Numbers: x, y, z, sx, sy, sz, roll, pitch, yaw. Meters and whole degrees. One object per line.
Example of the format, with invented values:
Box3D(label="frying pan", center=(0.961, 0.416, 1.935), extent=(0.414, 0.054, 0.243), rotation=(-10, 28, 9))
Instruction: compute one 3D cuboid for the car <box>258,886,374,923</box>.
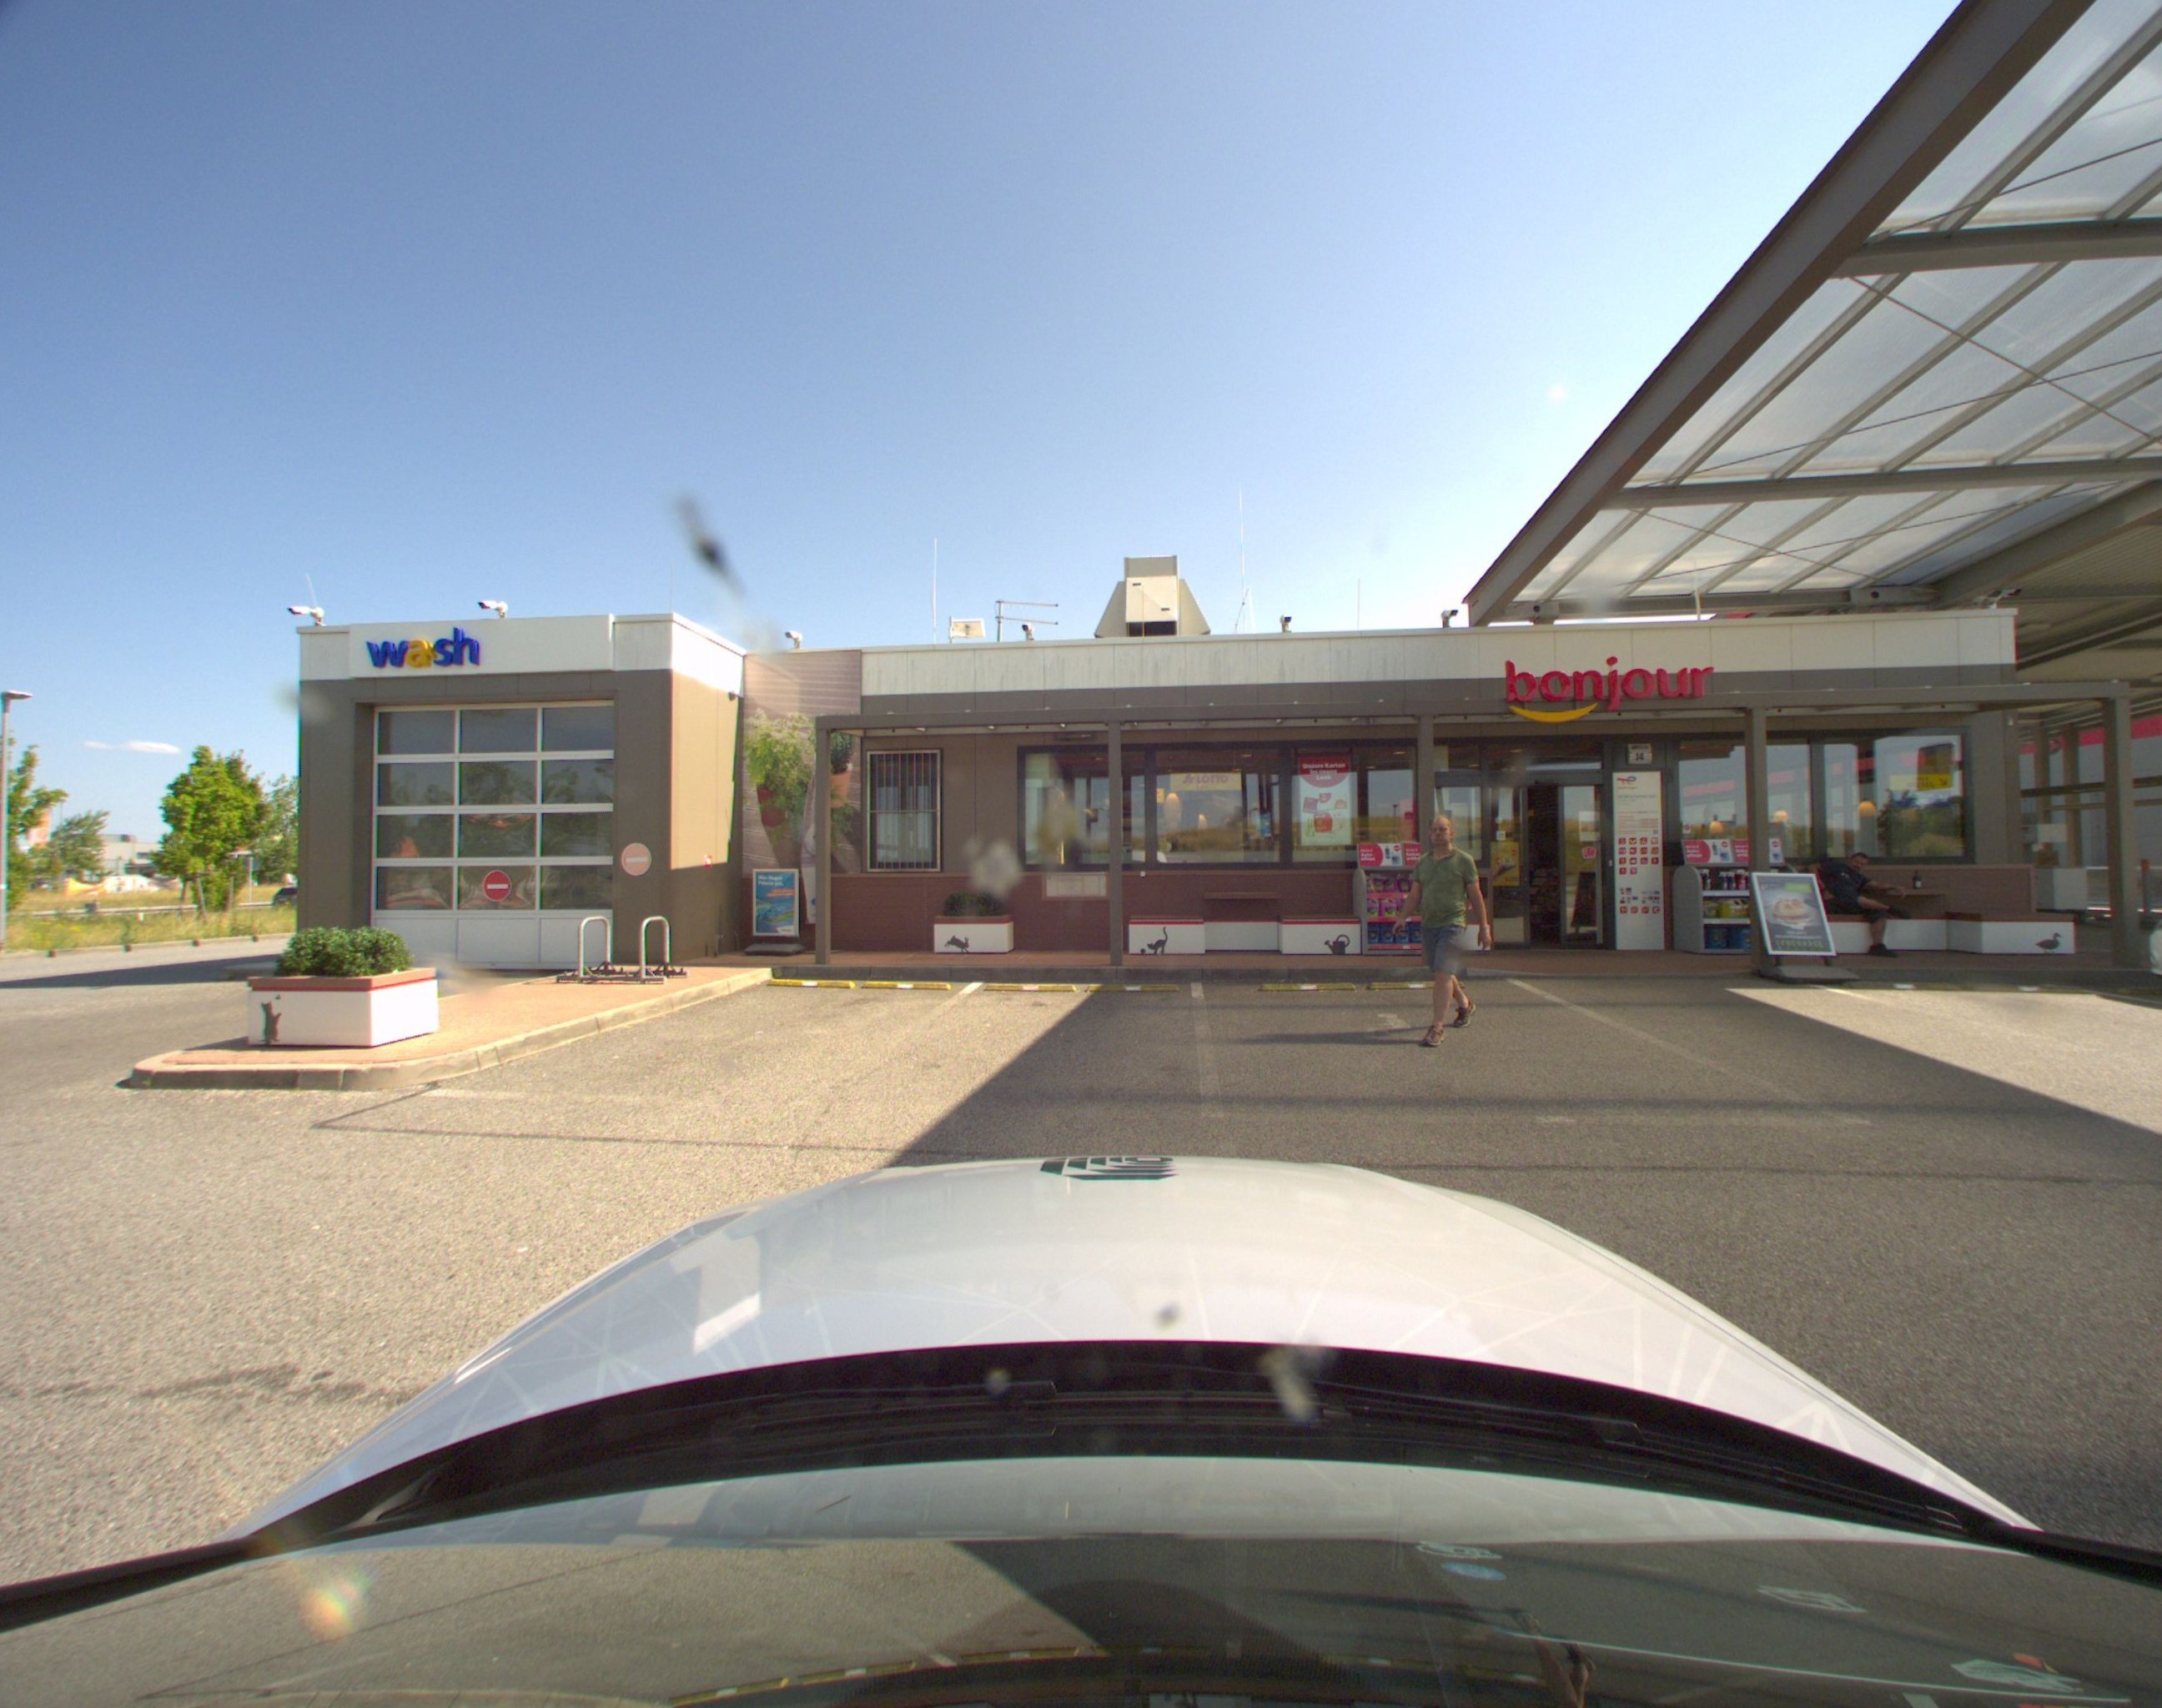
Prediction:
Box3D(label="car", center=(-41.774, 2.739, 44.635), extent=(1.775, 1.751, 4.588), rotation=(-1, 0, 5))

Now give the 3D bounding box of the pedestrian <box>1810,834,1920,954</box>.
Box3D(label="pedestrian", center=(9.706, 0.486, 10.111), extent=(0.698, 1.432, 0.673), rotation=(-1, -1, 5))

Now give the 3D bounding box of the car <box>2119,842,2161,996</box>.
Box3D(label="car", center=(11.091, 0.590, 5.827), extent=(1.824, 1.457, 4.320), rotation=(-1, 0, 0))

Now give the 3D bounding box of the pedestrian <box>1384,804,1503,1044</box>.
Box3D(label="pedestrian", center=(2.967, 0.527, 6.645), extent=(0.694, 1.797, 0.868), rotation=(-1, -1, 35))
